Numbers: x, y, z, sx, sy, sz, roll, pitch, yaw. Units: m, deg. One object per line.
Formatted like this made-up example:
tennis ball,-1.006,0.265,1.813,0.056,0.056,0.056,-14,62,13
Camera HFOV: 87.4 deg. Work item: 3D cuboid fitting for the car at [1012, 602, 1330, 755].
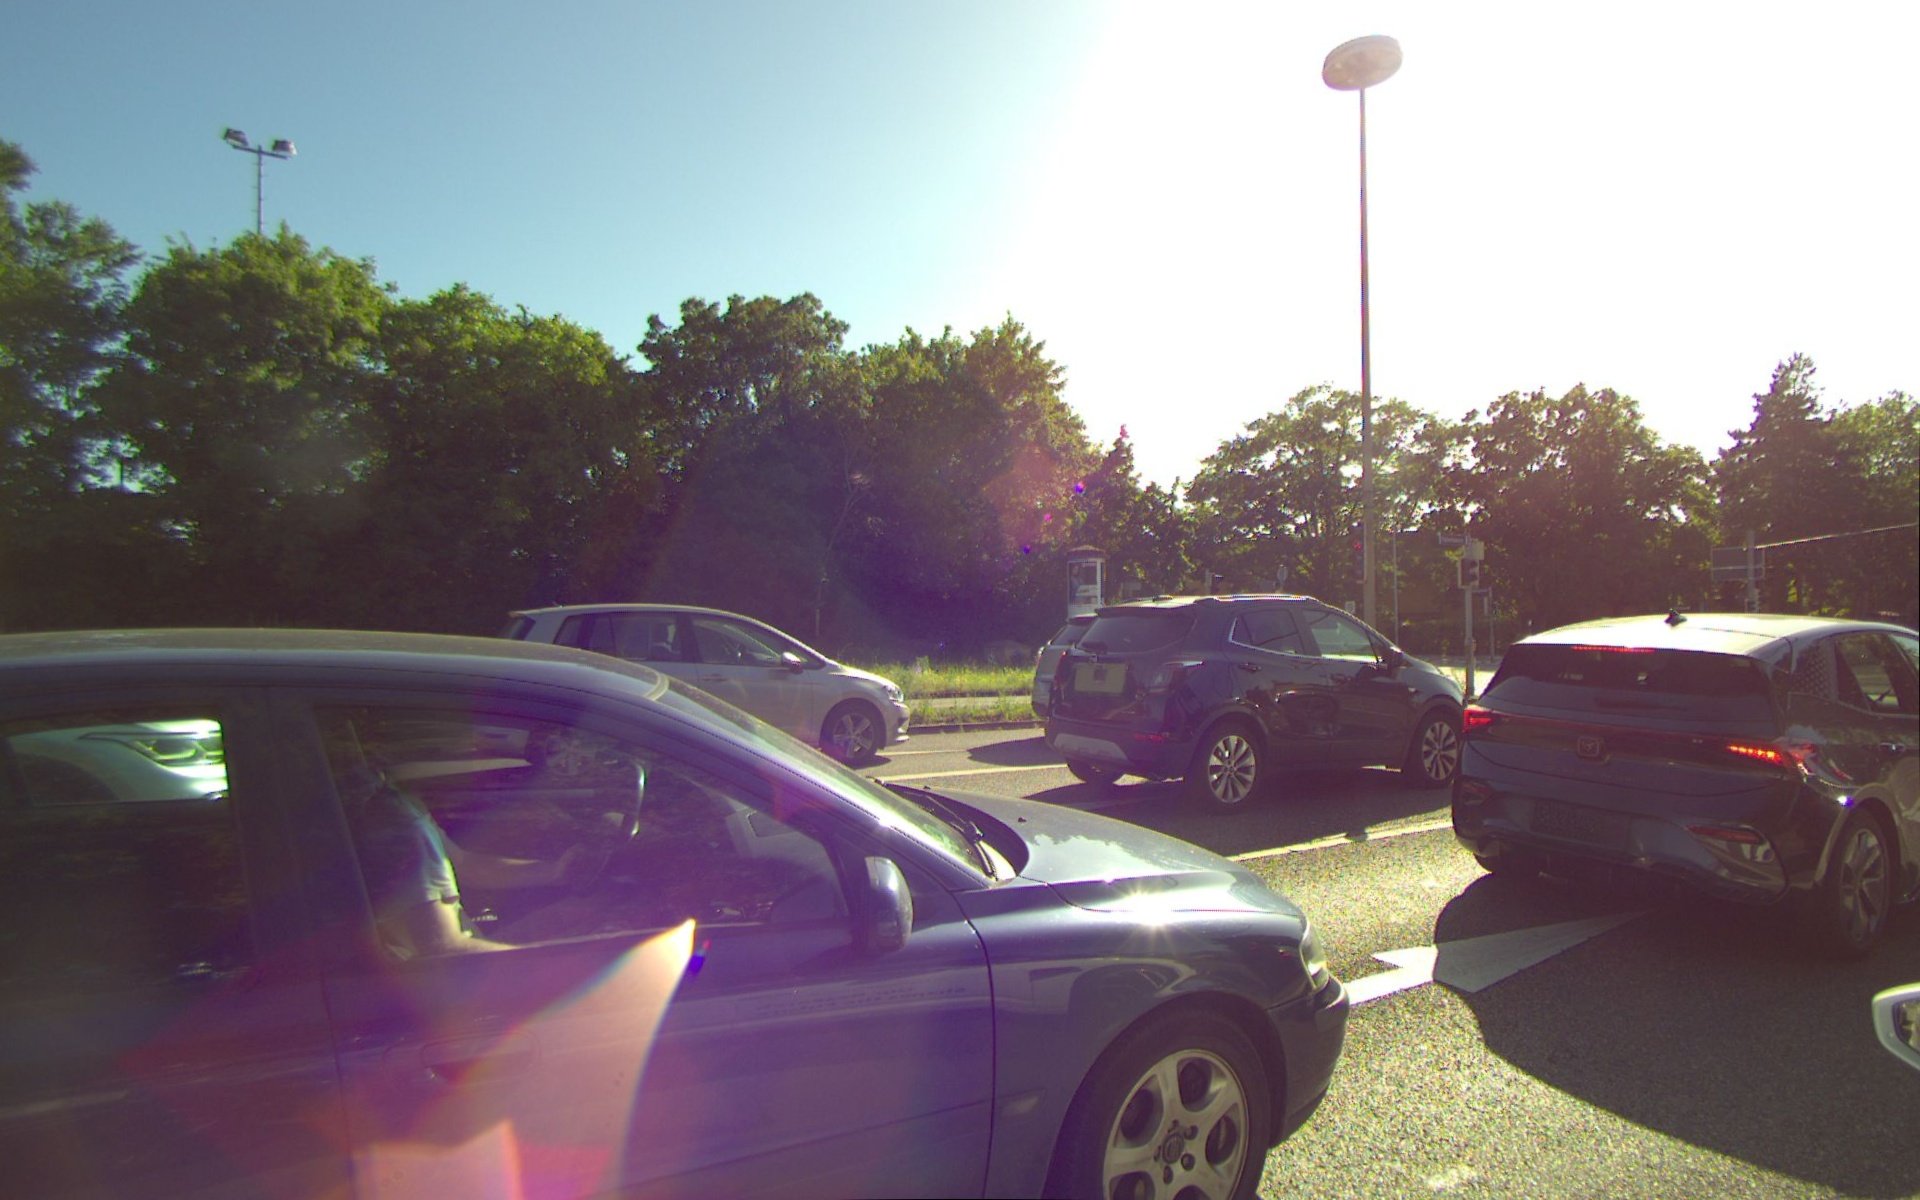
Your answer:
car,2.806,0.949,13.177,3.956,1.724,1.820,1,-2,-32

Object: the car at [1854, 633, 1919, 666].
car,44.707,2.337,48.091,3.956,1.529,1.678,1,-2,-30

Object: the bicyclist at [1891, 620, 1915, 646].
bicyclist,61.518,2.176,65.535,1.187,1.670,0.870,1,-2,-34

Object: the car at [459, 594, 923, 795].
car,-2.617,0.831,10.000,4.156,1.632,1.822,1,-2,-30

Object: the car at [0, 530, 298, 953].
car,-5.558,0.587,4.323,4.373,1.732,1.984,1,-2,-30

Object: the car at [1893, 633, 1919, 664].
car,49.903,2.482,51.784,3.959,1.529,1.677,1,-2,-32

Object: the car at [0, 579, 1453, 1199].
car,-1.100,0.721,2.196,4.404,1.471,1.767,2,0,-30

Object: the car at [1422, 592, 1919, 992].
car,4.736,0.824,5.811,4.158,1.601,1.676,2,-1,-30

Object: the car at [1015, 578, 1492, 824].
car,2.616,0.765,8.790,3.953,1.711,1.796,1,-2,-30

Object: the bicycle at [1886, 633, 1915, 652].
bicycle,61.510,2.798,65.686,2.510,1.228,0.870,1,-2,-34
